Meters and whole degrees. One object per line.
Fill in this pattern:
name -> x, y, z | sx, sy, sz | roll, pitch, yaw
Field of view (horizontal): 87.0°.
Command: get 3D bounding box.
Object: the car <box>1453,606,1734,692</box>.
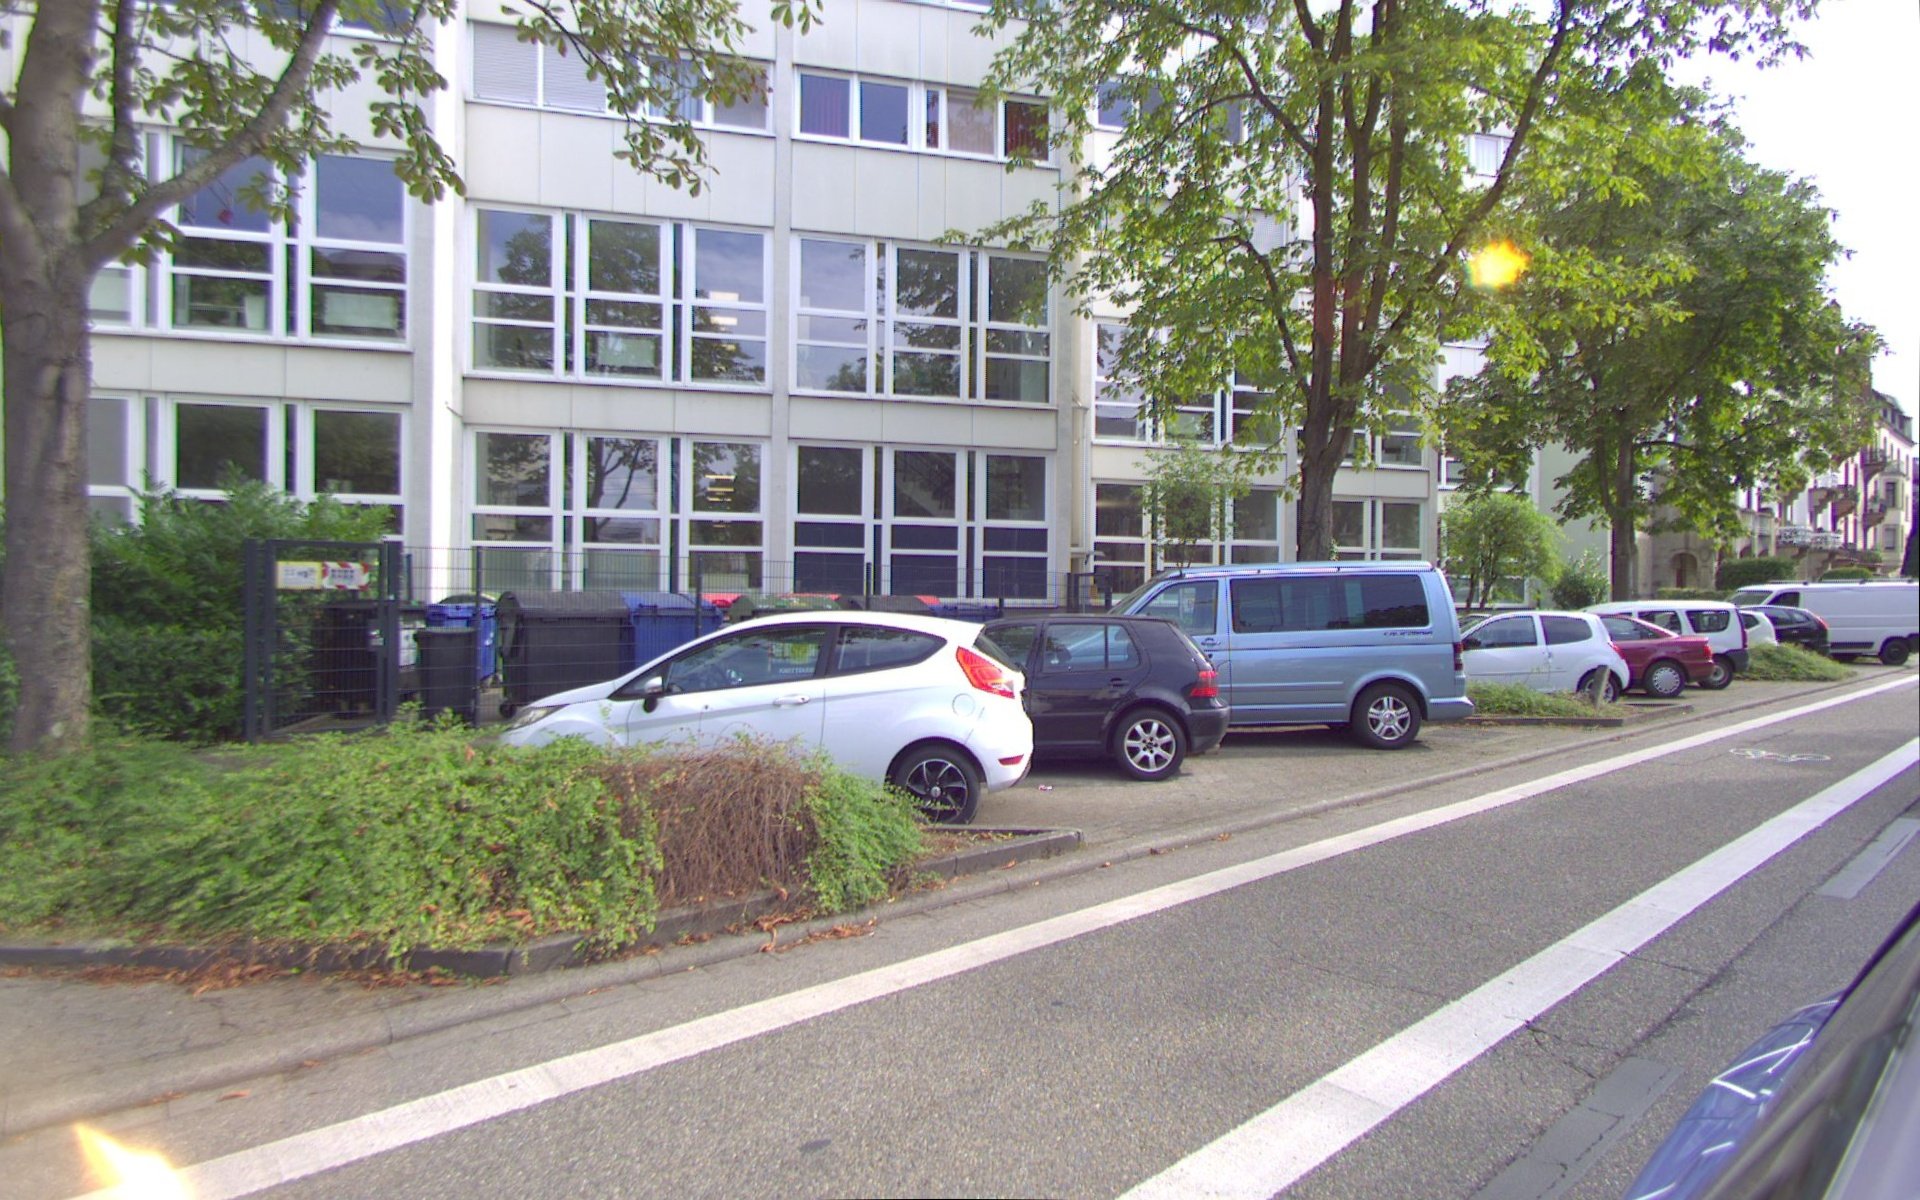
car -> 10.887, 0.801, 17.646 | 3.708, 1.355, 1.810 | 0, 0, 9

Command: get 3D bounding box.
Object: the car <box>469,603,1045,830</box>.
car -> -1.309, 0.739, 7.382 | 3.792, 1.410, 1.632 | 0, 0, 4

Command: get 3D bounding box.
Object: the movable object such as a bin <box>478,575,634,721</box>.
movable object such as a bin -> -4.683, 0.504, 11.712 | 1.389, 1.549, 1.330 | 0, 0, -36

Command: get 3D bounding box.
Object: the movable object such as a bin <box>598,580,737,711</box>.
movable object such as a bin -> -3.691, 0.528, 12.738 | 1.312, 1.523, 1.335 | 0, 0, -36

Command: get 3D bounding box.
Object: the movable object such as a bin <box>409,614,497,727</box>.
movable object such as a bin -> -5.380, 0.719, 10.725 | 0.729, 1.119, 0.786 | 0, 0, -34

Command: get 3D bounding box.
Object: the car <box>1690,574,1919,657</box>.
car -> 23.936, 0.392, 28.247 | 5.349, 2.203, 2.143 | 0, 0, 9

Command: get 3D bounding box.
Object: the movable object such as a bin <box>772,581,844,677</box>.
movable object such as a bin -> -2.636, 0.486, 17.450 | 1.150, 1.588, 1.182 | 0, 0, -12

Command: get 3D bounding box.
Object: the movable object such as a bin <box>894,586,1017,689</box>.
movable object such as a bin -> -0.082, 0.537, 15.504 | 1.374, 1.477, 1.335 | 0, 0, -36

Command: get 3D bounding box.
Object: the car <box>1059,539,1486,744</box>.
car -> 3.308, 0.411, 11.496 | 4.268, 2.090, 1.998 | 0, 0, 5

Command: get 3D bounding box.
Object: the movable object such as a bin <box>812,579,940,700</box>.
movable object such as a bin -> -1.210, 0.528, 14.471 | 1.328, 1.616, 1.335 | 0, 0, -36

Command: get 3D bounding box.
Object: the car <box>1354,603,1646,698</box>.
car -> 8.249, 0.741, 15.745 | 3.580, 1.347, 1.766 | 0, 0, 5

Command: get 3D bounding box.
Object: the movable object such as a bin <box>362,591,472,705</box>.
movable object such as a bin -> -7.020, 0.591, 13.155 | 1.095, 1.409, 1.065 | 0, 0, -19

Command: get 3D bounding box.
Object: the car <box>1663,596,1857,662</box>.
car -> 20.737, 0.707, 26.416 | 3.605, 1.609, 1.753 | 0, 0, 24

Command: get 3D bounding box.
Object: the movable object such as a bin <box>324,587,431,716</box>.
movable object such as a bin -> -6.785, 0.569, 11.840 | 0.893, 1.425, 1.026 | 0, 0, -19

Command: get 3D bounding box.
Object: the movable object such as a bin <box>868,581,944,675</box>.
movable object such as a bin -> -0.966, 0.472, 17.752 | 1.150, 1.588, 1.182 | 0, 0, -12

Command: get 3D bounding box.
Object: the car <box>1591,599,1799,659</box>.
car -> 17.391, 0.650, 24.082 | 3.580, 1.347, 1.766 | 0, 0, 5

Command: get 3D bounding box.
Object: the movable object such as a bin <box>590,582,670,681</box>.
movable object such as a bin -> -5.487, 0.508, 16.912 | 1.150, 1.588, 1.182 | 0, 0, -12

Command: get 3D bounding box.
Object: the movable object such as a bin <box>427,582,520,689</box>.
movable object such as a bin -> -7.570, 0.528, 15.817 | 1.155, 1.588, 1.177 | 0, 0, -19

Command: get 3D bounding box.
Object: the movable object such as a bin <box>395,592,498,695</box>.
movable object such as a bin -> -7.297, 0.586, 14.466 | 1.155, 1.387, 1.177 | 0, 0, -19

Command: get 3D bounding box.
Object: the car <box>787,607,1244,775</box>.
car -> 0.499, 0.781, 9.559 | 3.902, 1.405, 1.812 | 0, -1, 5

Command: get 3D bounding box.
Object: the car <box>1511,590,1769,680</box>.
car -> 13.006, 0.629, 19.584 | 3.708, 1.638, 1.810 | 0, 0, 9

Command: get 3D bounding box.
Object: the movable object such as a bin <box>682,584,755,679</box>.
movable object such as a bin -> -4.054, 0.512, 17.055 | 1.150, 1.533, 1.182 | 0, 0, -12

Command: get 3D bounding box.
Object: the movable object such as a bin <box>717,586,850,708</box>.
movable object such as a bin -> -2.384, 0.583, 13.616 | 1.328, 1.521, 1.335 | 0, 0, -36
